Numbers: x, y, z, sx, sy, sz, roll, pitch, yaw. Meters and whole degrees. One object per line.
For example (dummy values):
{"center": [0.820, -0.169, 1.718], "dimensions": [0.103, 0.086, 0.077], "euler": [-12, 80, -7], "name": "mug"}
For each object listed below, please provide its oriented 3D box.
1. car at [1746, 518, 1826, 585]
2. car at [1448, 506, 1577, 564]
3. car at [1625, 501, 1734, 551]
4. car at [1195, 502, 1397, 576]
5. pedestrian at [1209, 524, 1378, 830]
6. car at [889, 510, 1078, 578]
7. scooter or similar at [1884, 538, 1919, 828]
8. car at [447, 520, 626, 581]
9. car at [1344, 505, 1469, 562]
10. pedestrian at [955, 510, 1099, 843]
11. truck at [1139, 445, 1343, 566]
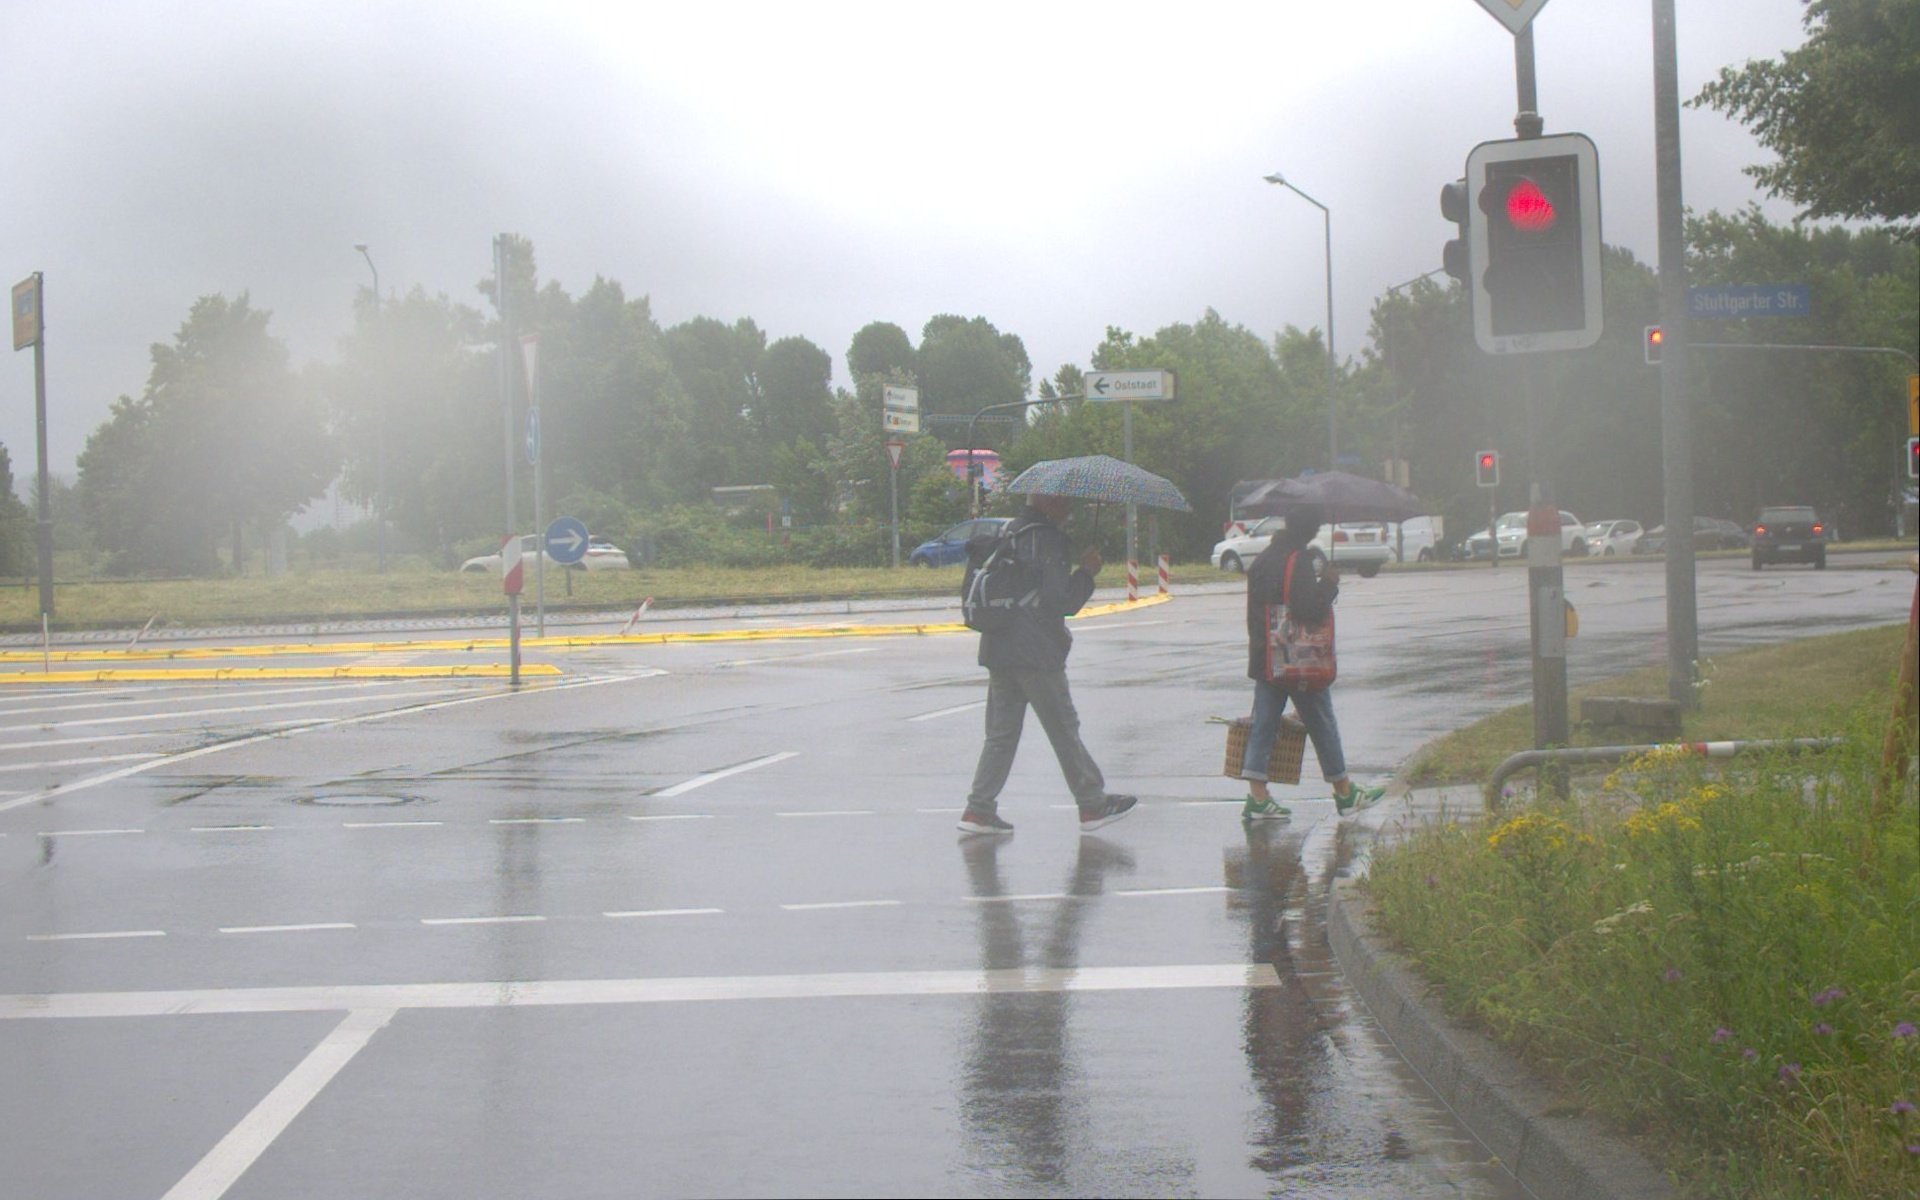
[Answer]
{"center": [18.900, -1.131, 78.759], "dimensions": [1.619, 1.449, 3.986], "euler": [-1, 1, 12], "name": "car"}
{"center": [16.851, -1.973, 104.733], "dimensions": [1.800, 1.656, 4.399], "euler": [1, 0, 41], "name": "car"}
{"center": [25.143, -2.597, 120.032], "dimensions": [1.800, 1.656, 4.399], "euler": [0, 2, 41], "name": "car"}
{"center": [6.904, -1.244, 70.902], "dimensions": [3.985, 1.449, 1.619], "euler": [0, 2, 44], "name": "car"}
{"center": [1.638, 0.371, 16.944], "dimensions": [0.680, 1.456, 0.573], "euler": [-2, 0, -5], "name": "pedestrian"}
{"center": [0.514, -1.245, 76.509], "dimensions": [3.983, 1.449, 1.620], "euler": [0, 2, 36], "name": "car"}
{"center": [4.932, 0.371, 15.150], "dimensions": [1.585, 1.255, 0.447], "euler": [1, 0, -6], "name": "scooter or similar"}
{"center": [-10.570, -1.237, 85.829], "dimensions": [4.102, 1.449, 1.622], "euler": [-1, 1, 14], "name": "car"}
{"center": [13.738, -2.031, 105.681], "dimensions": [1.800, 1.656, 4.124], "euler": [1, 0, 41], "name": "car"}
{"center": [0.305, 0.341, 16.056], "dimensions": [0.621, 1.517, 0.741], "euler": [1, 1, -2], "name": "pedestrian"}
{"center": [6.805, -2.196, 81.963], "dimensions": [2.464, 2.677, 8.050], "euler": [1, 0, 22], "name": "truck"}
